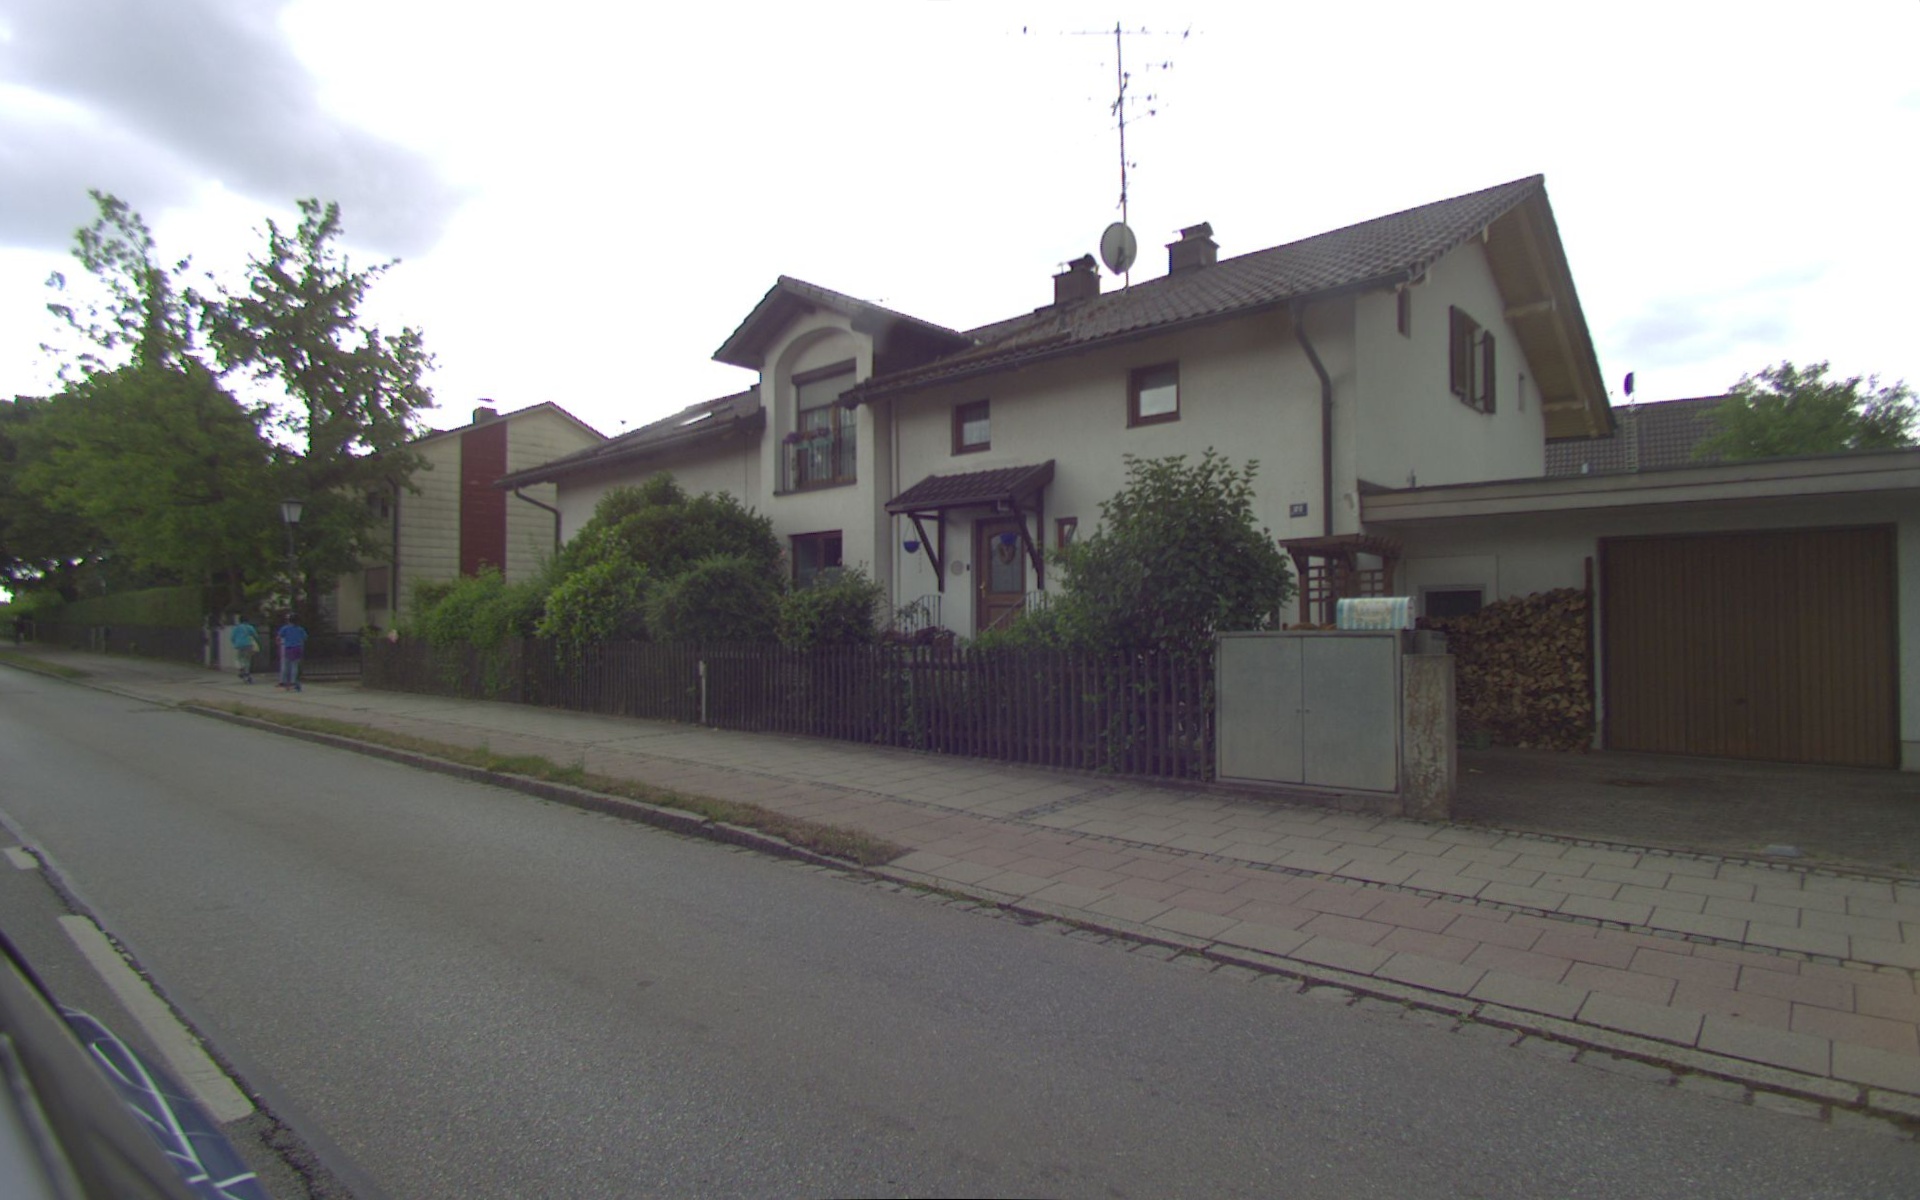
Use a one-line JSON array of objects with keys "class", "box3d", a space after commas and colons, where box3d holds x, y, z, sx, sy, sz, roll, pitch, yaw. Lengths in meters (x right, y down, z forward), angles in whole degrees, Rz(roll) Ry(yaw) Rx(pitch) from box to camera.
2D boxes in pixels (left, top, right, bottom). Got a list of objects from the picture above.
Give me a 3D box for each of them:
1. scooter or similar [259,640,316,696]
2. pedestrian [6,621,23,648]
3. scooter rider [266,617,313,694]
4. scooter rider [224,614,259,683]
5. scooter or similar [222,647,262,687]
[{"class": "scooter or similar", "box3d": [-13.344, 1.327, 20.076, 1.178, 1.045, 0.654, -1, -2, 42]}, {"class": "pedestrian", "box3d": [-50.981, 1.853, 54.577, 0.563, 1.448, 0.623, -1, -1, 40]}, {"class": "scooter rider", "box3d": [-13.244, 1.085, 19.996, 0.580, 1.484, 0.655, -2, -2, 41]}, {"class": "scooter rider", "box3d": [-16.120, 1.075, 22.706, 0.716, 1.501, 0.497, -2, -1, 42]}, {"class": "scooter or similar", "box3d": [-16.104, 1.489, 22.696, 1.061, 0.856, 0.516, -1, -1, 42]}]
